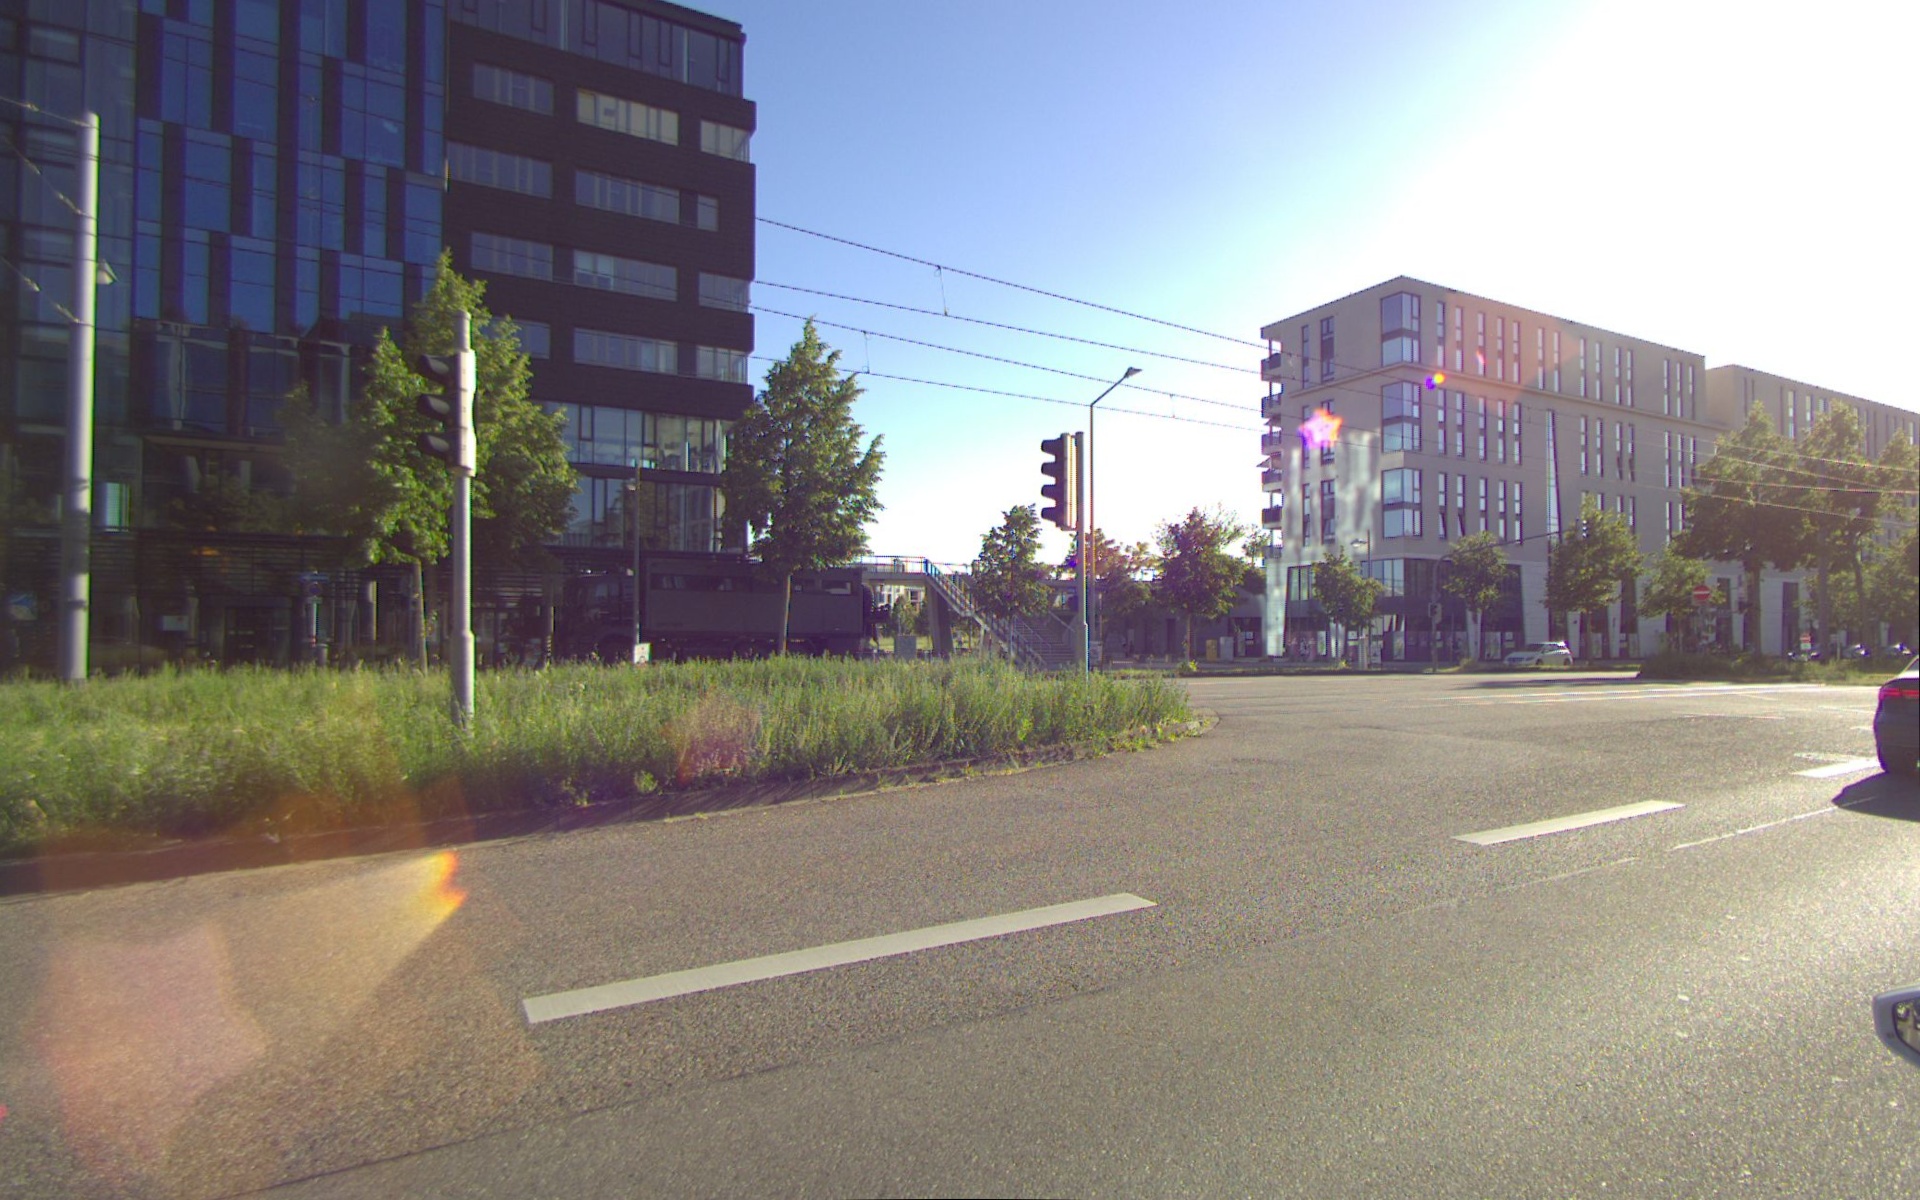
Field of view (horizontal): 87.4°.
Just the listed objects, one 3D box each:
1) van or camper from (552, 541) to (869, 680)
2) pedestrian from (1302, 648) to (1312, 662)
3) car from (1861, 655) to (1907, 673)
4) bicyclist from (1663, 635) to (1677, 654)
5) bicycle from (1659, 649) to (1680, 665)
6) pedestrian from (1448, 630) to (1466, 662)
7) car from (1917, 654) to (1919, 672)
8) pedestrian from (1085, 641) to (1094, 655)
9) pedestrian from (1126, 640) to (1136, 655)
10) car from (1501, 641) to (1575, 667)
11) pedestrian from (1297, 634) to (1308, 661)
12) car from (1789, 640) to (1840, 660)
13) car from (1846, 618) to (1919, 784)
[{"bbox_3d":[-8.315,0.487,34.265,10.102,4.247,2.743,2,-2,-28],"label":"van or camper"},{"bbox_3d":[23.816,3.802,68.862,0.589,0.932,0.433,1,-1,26],"label":"pedestrian"},{"bbox_3d":[71.470,4.945,77.675,3.667,1.360,1.573,2,-2,-29],"label":"car"},{"bbox_3d":[51.319,3.212,72.607,0.695,1.310,0.576,2,-1,-25],"label":"bicyclist"},{"bbox_3d":[51.293,4.151,72.583,1.615,1.125,0.527,2,-1,-25],"label":"bicycle"},{"bbox_3d":[28.124,2.598,56.847,0.791,1.836,0.575,2,-1,-32],"label":"pedestrian"},{"bbox_3d":[82.001,5.272,84.040,3.759,1.548,1.768,2,-2,-29],"label":"car"},{"bbox_3d":[10.259,3.803,79.578,0.592,1.140,0.437,2,-1,-26],"label":"pedestrian"},{"bbox_3d":[12.979,3.619,76.186,0.592,1.140,0.437,2,-1,-26],"label":"pedestrian"},{"bbox_3d":[32.150,2.990,55.842,4.417,1.360,1.573,2,-2,-29],"label":"car"},{"bbox_3d":[23.206,3.202,68.099,0.589,1.795,0.672,1,-1,26],"label":"pedestrian"},{"bbox_3d":[60.694,3.565,71.338,3.667,1.360,1.573,2,-2,-29],"label":"car"},{"bbox_3d":[10.827,0.979,10.179,4.070,1.547,1.797,2,-2,-34],"label":"car"}]
